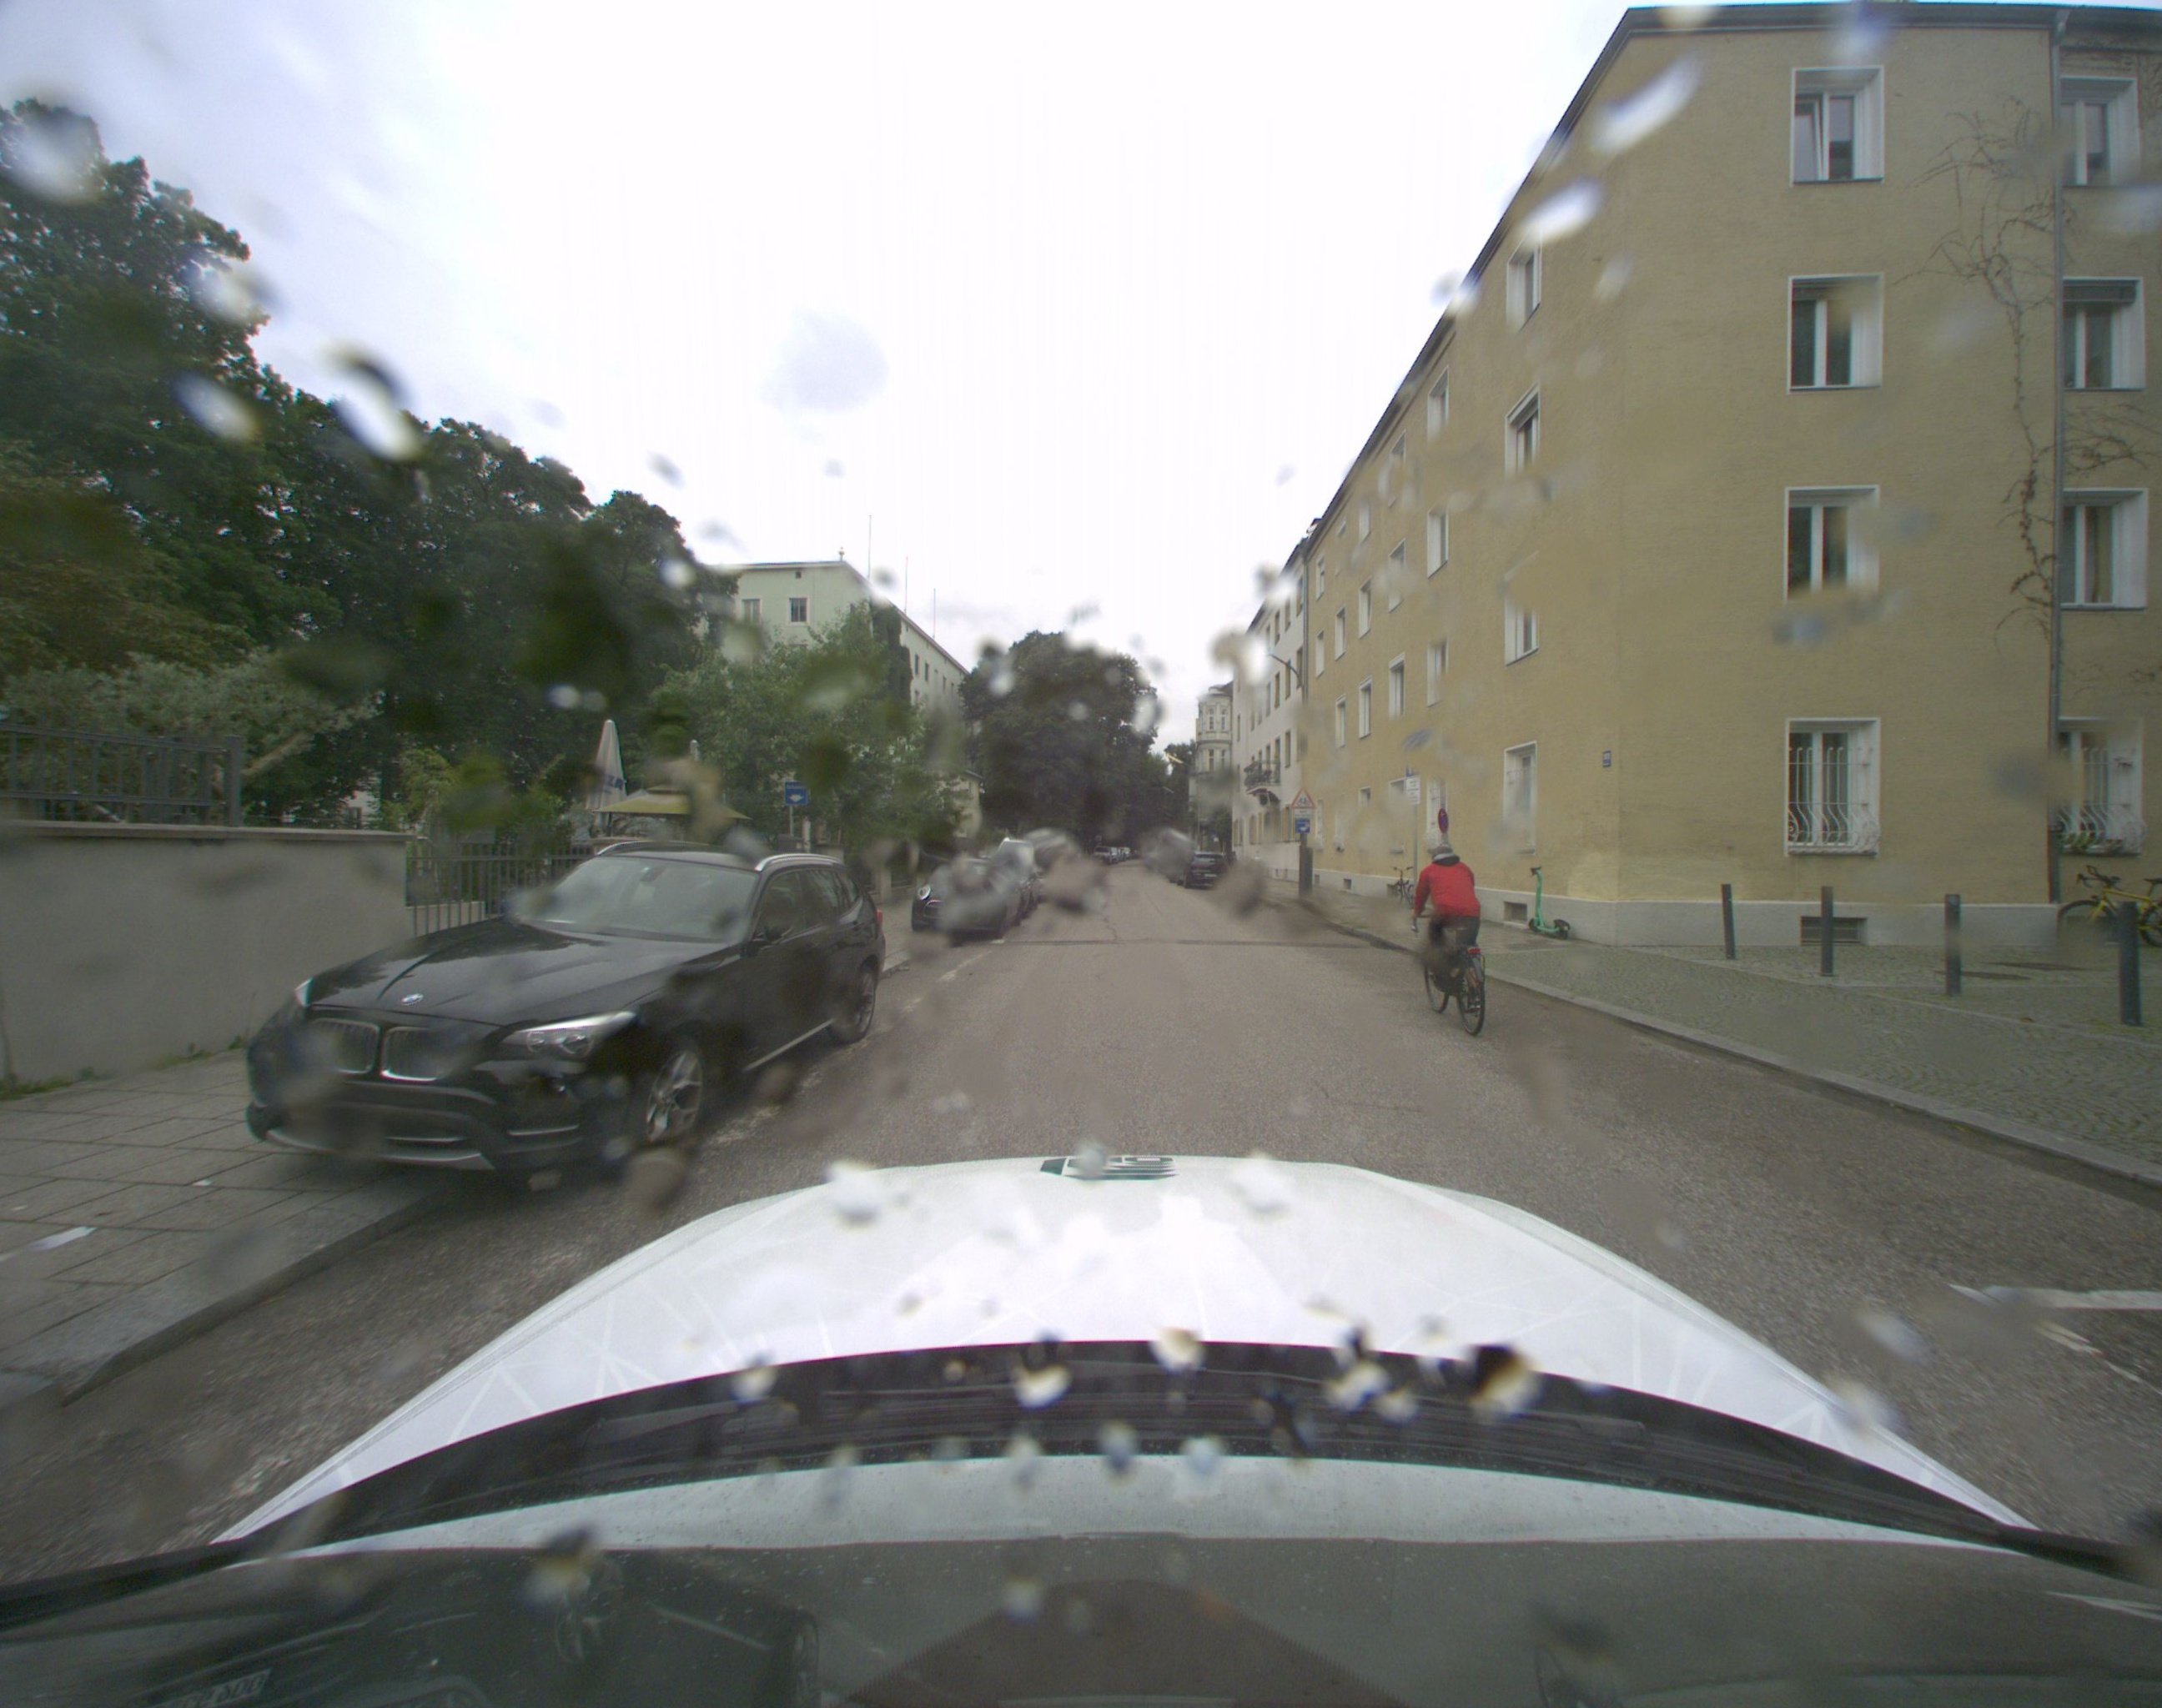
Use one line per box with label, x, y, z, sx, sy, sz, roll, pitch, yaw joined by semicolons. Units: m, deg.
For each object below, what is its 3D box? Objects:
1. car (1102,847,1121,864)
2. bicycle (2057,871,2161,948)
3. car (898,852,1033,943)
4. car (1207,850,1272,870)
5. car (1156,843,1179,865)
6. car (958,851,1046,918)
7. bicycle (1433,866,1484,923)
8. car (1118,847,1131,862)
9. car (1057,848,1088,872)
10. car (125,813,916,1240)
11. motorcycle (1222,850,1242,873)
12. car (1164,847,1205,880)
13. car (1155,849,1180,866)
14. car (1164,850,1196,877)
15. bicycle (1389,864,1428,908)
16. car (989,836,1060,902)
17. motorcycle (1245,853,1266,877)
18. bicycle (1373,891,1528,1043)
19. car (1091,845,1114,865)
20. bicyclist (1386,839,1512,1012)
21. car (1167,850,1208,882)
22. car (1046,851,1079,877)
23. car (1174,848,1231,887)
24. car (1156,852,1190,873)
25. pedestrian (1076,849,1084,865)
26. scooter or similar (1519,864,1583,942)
car;3.654;0.133;97.764;2.175;1.956;5.170;2;0;3
bicycle;15.372;0.807;11.954;1.691;1.092;0.378;0;0;-2
car;-2.163;0.767;16.445;1.851;1.544;4.192;-2;0;3
car;12.631;0.461;65.081;4.886;1.531;1.915;0;3;2
car;9.079;-0.025;85.685;2.194;2.208;4.860;-1;0;4
car;-1.967;0.715;21.534;1.881;1.543;4.694;0;0;-1
bicycle;8.188;0.856;17.731;0.340;1.135;1.760;0;0;2
car;6.982;0.080;130.657;1.993;2.186;4.702;2;0;4
car;-0.554;0.373;58.018;1.879;1.590;4.531;2;0;3
car;-2.715;0.662;5.577;1.837;1.607;4.748;2;0;4
motorcycle;9.765;0.469;52.772;0.854;1.433;2.708;0;0;1
car;5.926;0.504;47.171;1.985;1.707;4.538;2;0;3
car;8.396;0.343;78.742;2.260;1.546;4.596;-1;0;7
car;6.264;0.572;51.787;1.762;1.546;3.717;5;1;5
bicycle;8.658;0.826;21.581;0.340;1.082;1.814;-2;0;2
car;-1.783;0.449;27.508;1.960;1.990;5.151;2;0;0
motorcycle;9.403;0.594;43.981;0.729;1.239;2.008;2;0;2
bicycle;3.400;0.972;7.705;0.669;1.141;2.013;2;0;4
car;2.330;0.109;86.095;2.238;1.956;5.457;2;0;3
bicyclist;3.403;0.625;7.616;0.751;1.483;0.982;2;0;4
car;5.403;0.577;41.881;1.830;1.531;4.420;-1;0;4
car;-1.033;0.550;48.286;1.801;1.402;4.924;2;0;0
car;5.363;0.557;36.437;1.854;1.577;4.899;-1;0;0
car;6.354;0.547;56.669;1.992;1.319;4.599;-2;0;3
pedestrian;-0.116;0.268;79.517;0.711;1.548;0.752;2;0;-1
scooter or similar;8.023;0.813;13.948;0.340;1.255;1.310;-2;0;2
